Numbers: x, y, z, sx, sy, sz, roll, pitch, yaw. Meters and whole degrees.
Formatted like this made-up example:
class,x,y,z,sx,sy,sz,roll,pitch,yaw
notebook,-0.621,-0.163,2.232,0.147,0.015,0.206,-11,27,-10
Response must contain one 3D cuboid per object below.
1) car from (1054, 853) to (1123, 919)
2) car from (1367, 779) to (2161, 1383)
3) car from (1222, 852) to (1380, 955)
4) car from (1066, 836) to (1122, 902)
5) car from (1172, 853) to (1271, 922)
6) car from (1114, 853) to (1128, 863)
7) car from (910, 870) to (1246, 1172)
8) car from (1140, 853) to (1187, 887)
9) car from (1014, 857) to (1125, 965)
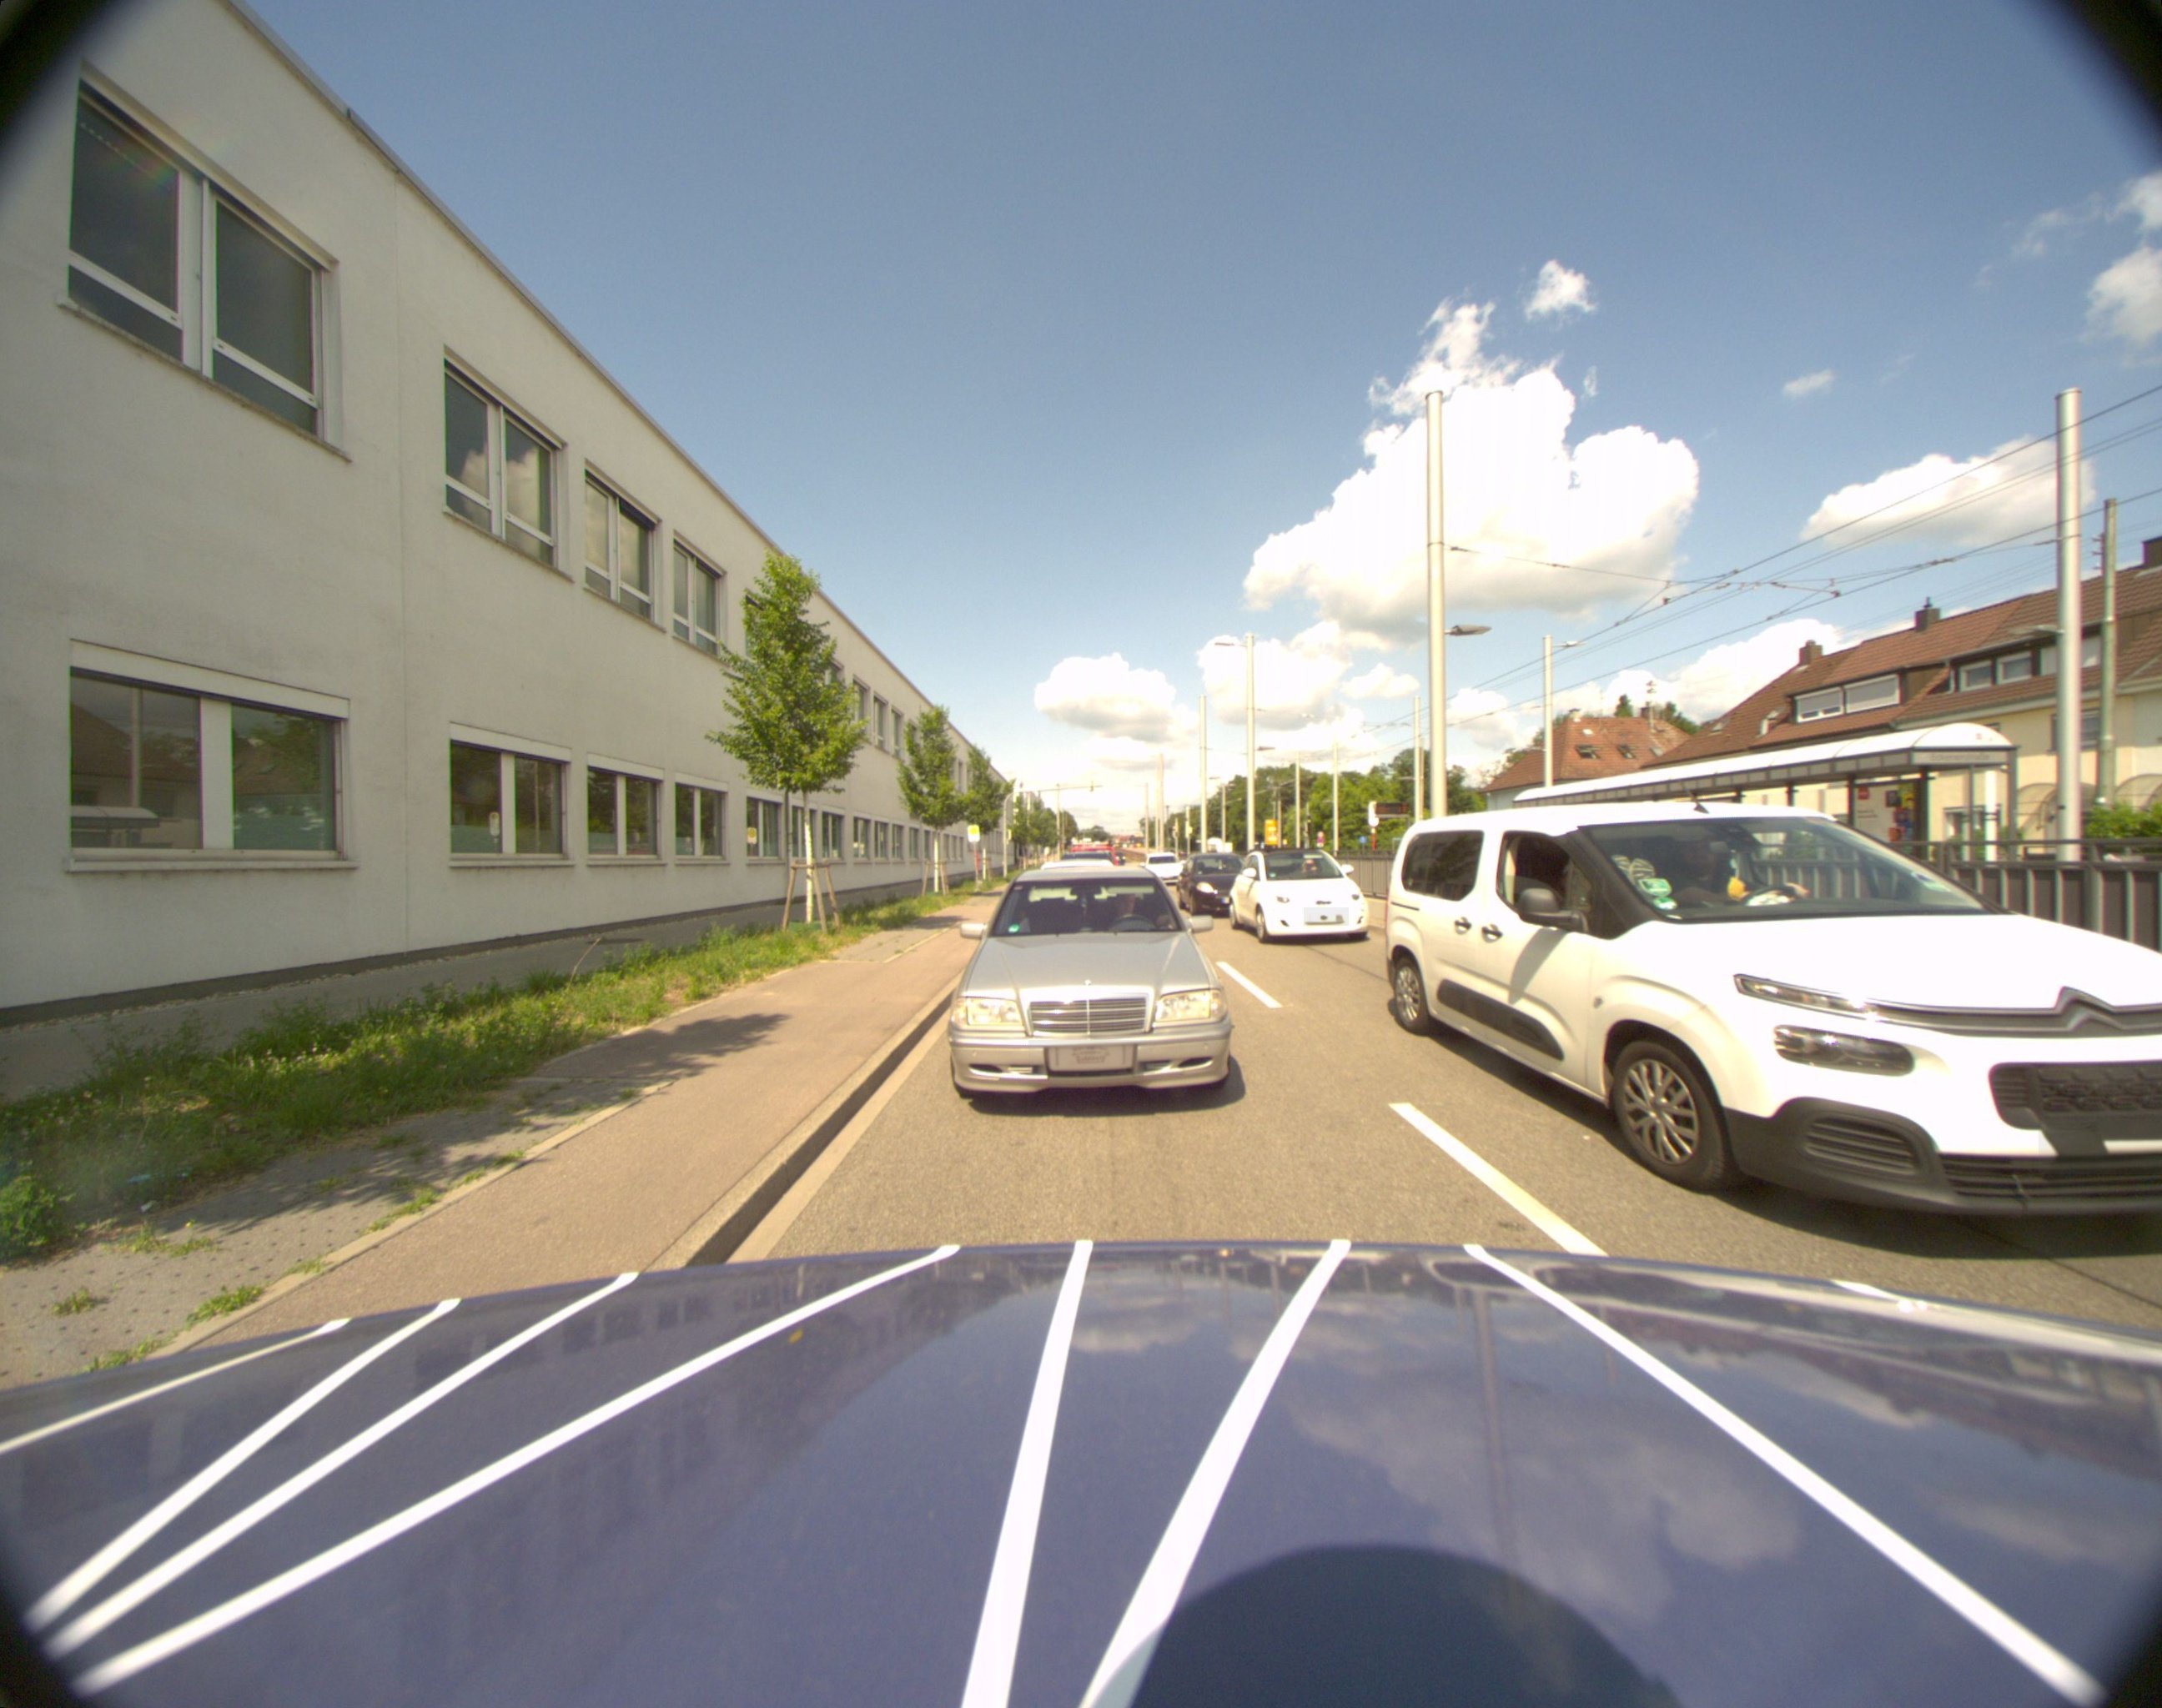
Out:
class,x,y,z,sx,sy,sz,roll,pitch,yaw
car,0.216,0.790,20.753,1.664,1.529,3.999,-2,1,1
car,3.370,0.648,4.443,1.799,1.805,4.329,-2,1,1
car,3.655,0.743,13.201,1.680,1.495,3.393,-2,0,-1
car,0.472,0.473,27.891,1.787,2.135,5.169,-2,1,1
car,3.317,0.739,18.523,1.680,1.414,3.558,-2,1,-1
car,5.601,0.525,106.770,1.698,1.350,4.498,-2,1,1
car,0.017,0.937,6.246,1.725,1.389,4.462,-2,1,1
car,3.761,0.699,35.296,1.698,1.350,4.498,-2,1,1
car,-0.146,0.894,13.795,1.664,1.564,3.999,-2,1,1
